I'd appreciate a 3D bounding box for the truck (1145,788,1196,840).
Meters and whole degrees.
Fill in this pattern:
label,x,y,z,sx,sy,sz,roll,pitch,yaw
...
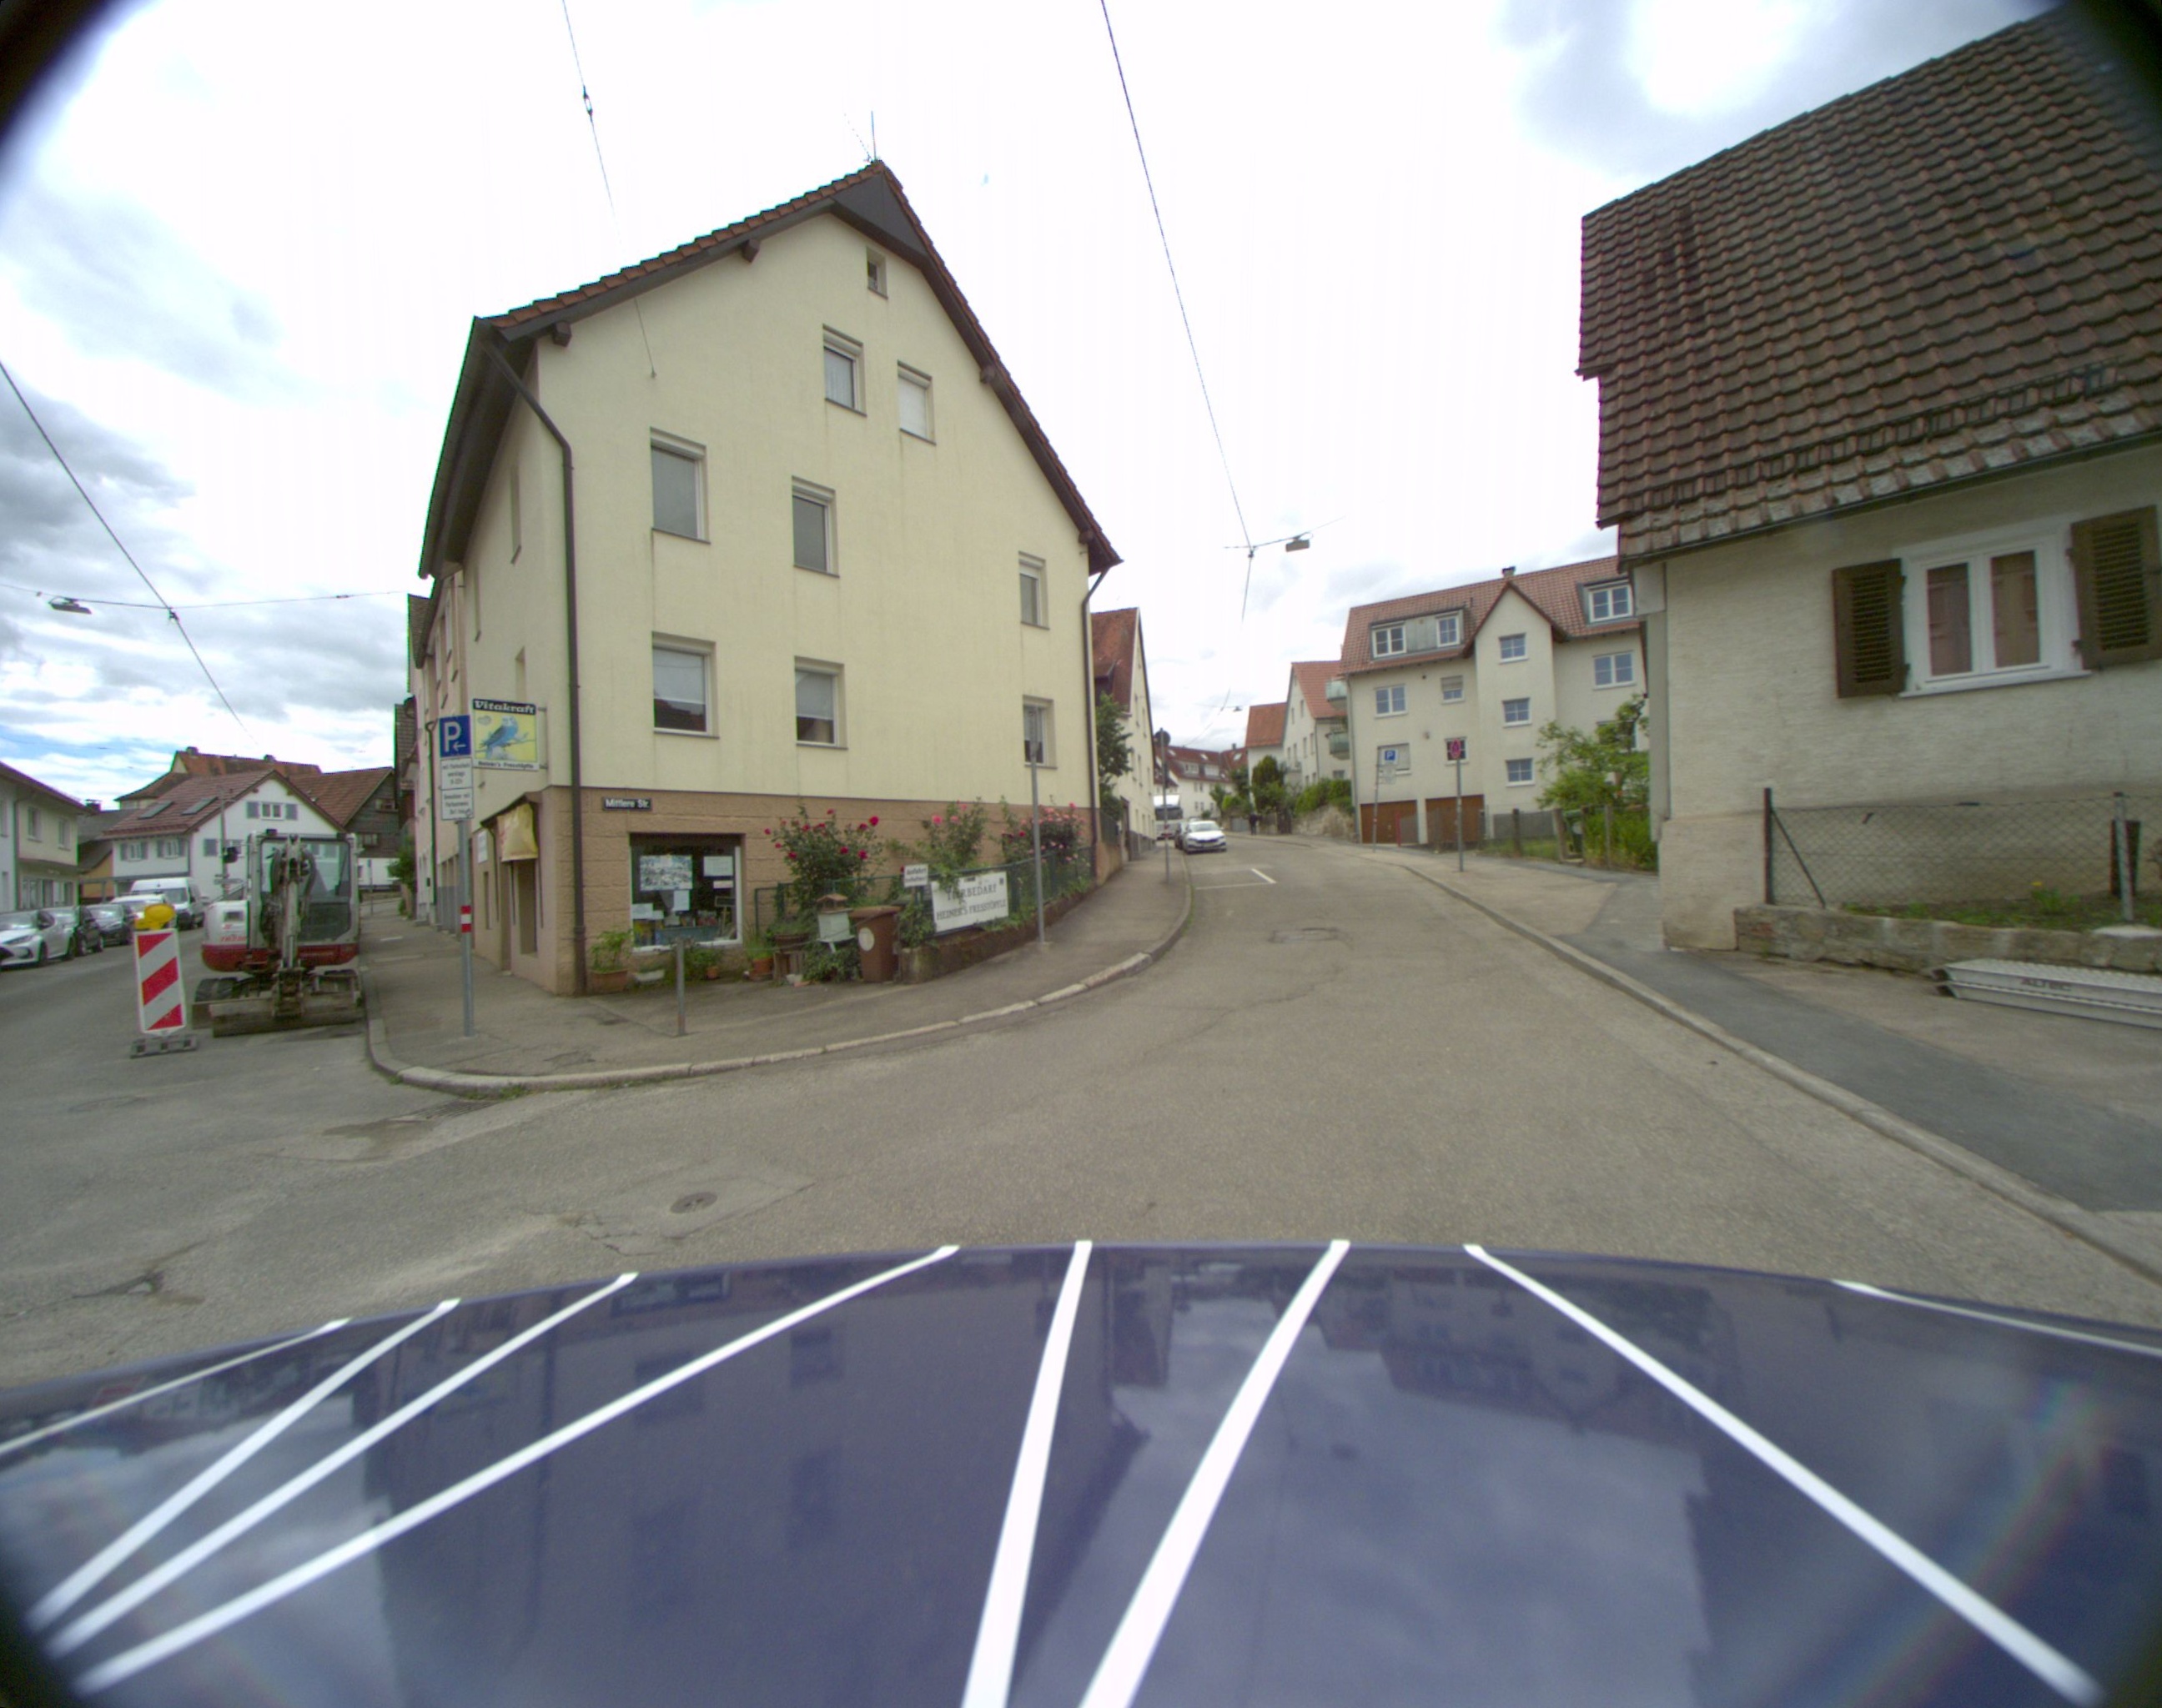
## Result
label,x,y,z,sx,sy,sz,roll,pitch,yaw
truck,6.885,-3.059,59.483,2.683,3.577,8.101,-4,2,-1

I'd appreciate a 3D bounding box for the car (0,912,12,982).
label,x,y,z,sx,sy,sz,roll,pitch,yaw
car,-23.784,2.072,15.524,4.093,1.511,1.700,-3,2,42

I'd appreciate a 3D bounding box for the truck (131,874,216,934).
label,x,y,z,sx,sy,sz,roll,pitch,yaw
truck,-44.047,2.375,36.979,1.830,2.581,4.768,-6,2,-42

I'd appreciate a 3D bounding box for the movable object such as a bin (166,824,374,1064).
label,x,y,z,sx,sy,sz,roll,pitch,yaw
movable object such as a bin,-10.629,1.006,10.068,4.661,2.485,1.576,-2,-2,44

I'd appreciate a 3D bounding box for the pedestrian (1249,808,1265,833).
label,x,y,z,sx,sy,sz,roll,pitch,yaw
pedestrian,12.469,-2.363,53.831,0.842,1.669,0.976,-5,3,0

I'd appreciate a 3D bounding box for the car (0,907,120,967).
label,x,y,z,sx,sy,sz,roll,pitch,yaw
car,-30.401,2.414,22.511,1.700,1.382,3.704,-6,2,-42

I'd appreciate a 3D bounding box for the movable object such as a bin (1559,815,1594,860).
label,x,y,z,sx,sy,sz,roll,pitch,yaw
movable object such as a bin,10.654,-0.361,16.332,0.527,0.879,0.491,-6,3,36

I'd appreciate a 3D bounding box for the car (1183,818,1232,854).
label,x,y,z,sx,sy,sz,roll,pitch,yaw
car,5.889,-0.899,35.798,1.799,1.438,4.297,-4,3,4

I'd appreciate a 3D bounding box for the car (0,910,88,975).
label,x,y,z,sx,sy,sz,roll,pitch,yaw
car,-27.364,2.275,19.413,1.700,1.382,3.791,-6,2,-43

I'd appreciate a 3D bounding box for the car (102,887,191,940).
label,x,y,z,sx,sy,sz,roll,pitch,yaw
car,-40.213,2.498,32.803,1.700,1.993,4.082,-6,2,-42

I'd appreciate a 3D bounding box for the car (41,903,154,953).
label,x,y,z,sx,sy,sz,roll,pitch,yaw
car,-34.412,2.551,26.705,1.700,1.382,3.704,-6,2,-42

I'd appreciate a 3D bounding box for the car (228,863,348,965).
label,x,y,z,sx,sy,sz,roll,pitch,yaw
car,-21.509,1.516,20.782,2.004,2.373,6.603,1,-2,-45
